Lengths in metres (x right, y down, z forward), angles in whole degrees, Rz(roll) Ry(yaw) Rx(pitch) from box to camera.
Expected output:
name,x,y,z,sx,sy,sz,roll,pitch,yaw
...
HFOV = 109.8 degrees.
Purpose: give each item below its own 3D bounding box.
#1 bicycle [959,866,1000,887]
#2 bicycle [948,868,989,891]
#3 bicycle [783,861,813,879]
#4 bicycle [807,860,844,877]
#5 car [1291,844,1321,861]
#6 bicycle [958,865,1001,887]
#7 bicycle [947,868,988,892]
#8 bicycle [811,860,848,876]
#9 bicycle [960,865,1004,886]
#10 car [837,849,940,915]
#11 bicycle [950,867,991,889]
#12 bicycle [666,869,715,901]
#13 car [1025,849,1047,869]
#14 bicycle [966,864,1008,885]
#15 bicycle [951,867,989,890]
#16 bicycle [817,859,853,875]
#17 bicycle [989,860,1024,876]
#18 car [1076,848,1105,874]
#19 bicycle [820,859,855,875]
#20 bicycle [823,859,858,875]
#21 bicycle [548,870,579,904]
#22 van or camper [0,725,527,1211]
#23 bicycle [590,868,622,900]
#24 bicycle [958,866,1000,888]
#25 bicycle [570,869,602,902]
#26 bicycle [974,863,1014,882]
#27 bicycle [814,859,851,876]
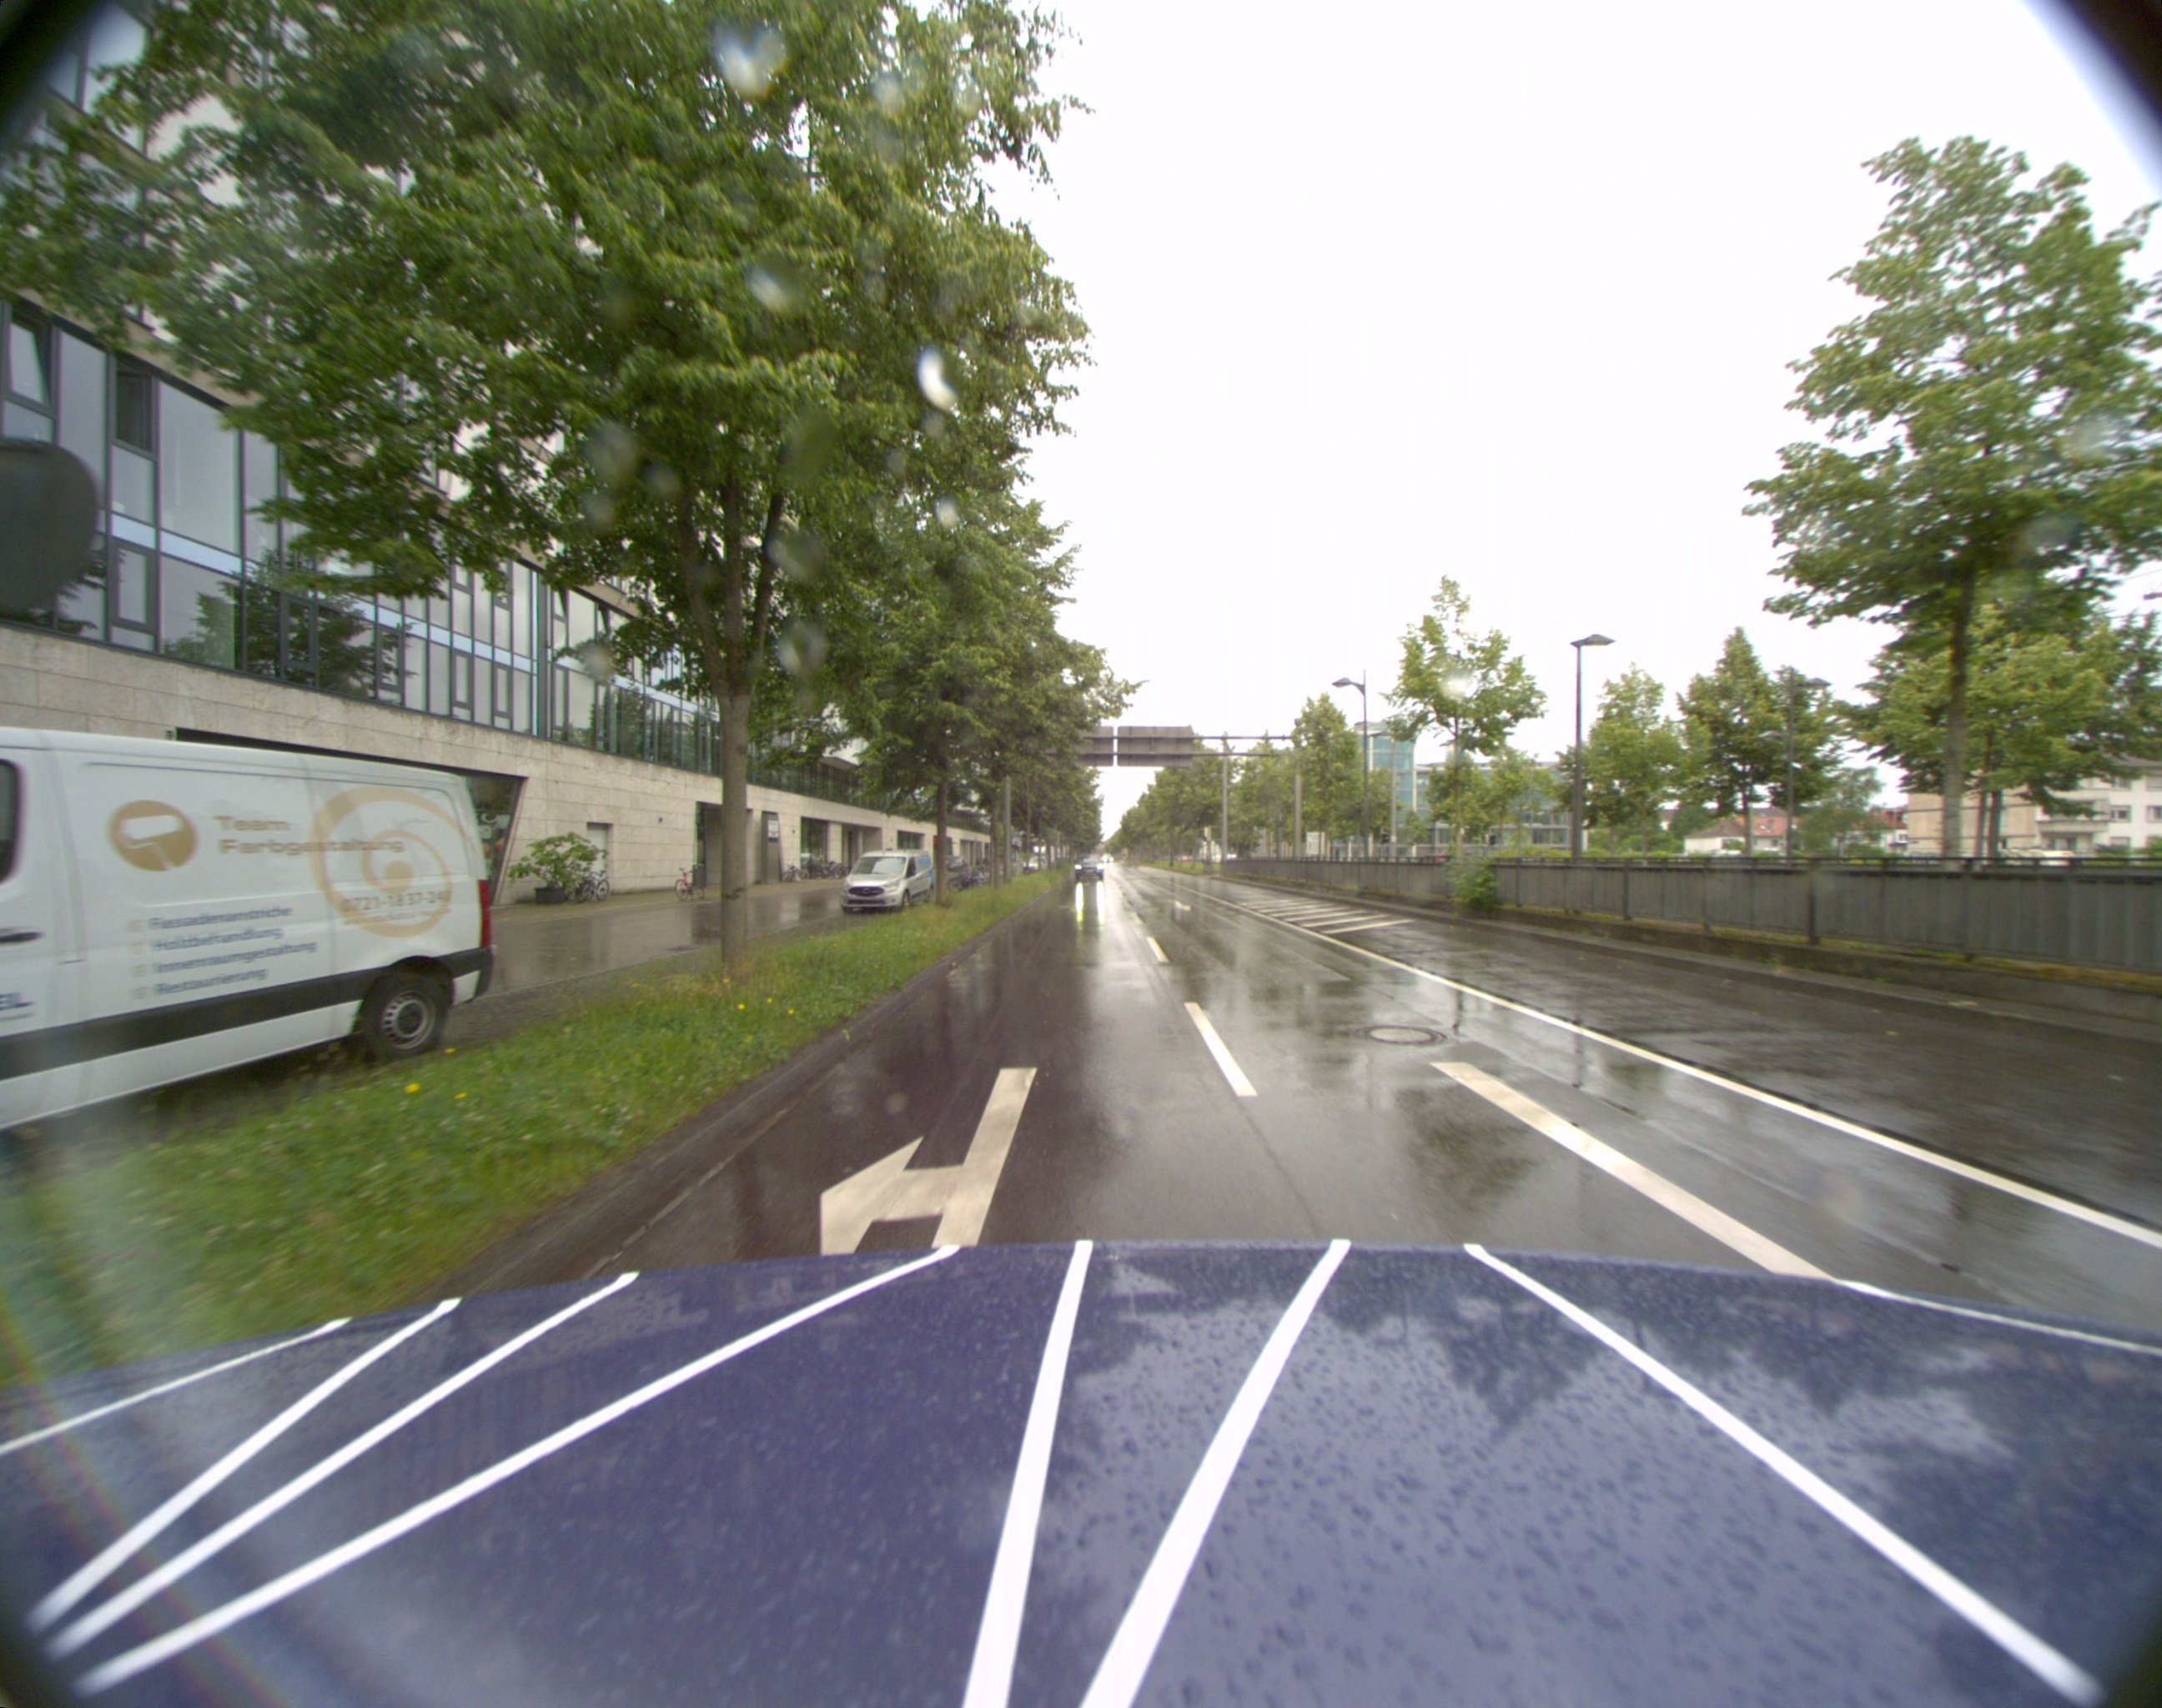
name,x,y,z,sx,sy,sz,roll,pitch,yaw
bicycle,-4.807,1.060,36.007,1.882,0.940,0.395,-2,1,-2
bicycle,-4.943,1.133,33.514,1.698,0.940,0.395,-2,1,-2
bicycle,-15.187,0.852,40.768,1.657,0.940,0.347,1,1,20
bicycle,-14.906,0.822,44.346,2.028,0.940,0.395,1,1,-2
car,24.309,-0.194,82.285,1.999,1.736,3.999,-2,1,-1
bicycle,-4.866,1.055,36.498,2.007,0.940,0.395,-2,1,-2
bicycle,-4.897,1.120,32.799,1.666,0.940,0.395,-2,1,-2
bicycle,-14.922,0.819,45.047,2.028,0.940,0.395,1,1,-2
bicycle,-4.818,1.049,36.939,2.040,0.940,0.395,-2,1,-2
car,-5.606,0.728,22.832,1.746,1.749,4.848,-1,1,1
bicycle,-5.067,1.089,34.787,1.792,0.940,0.395,-2,1,-2
bicycle,-12.778,0.998,24.933,0.402,0.940,1.859,0,1,9
car,-4.257,0.422,71.897,1.658,1.711,4.000,-2,1,1
bicycle,-4.748,1.030,38.284,2.040,0.940,0.395,-2,1,-2
bicycle,-5.001,1.111,34.228,1.649,0.940,0.395,-2,1,-2
bicycle,-14.939,0.800,46.220,2.028,0.940,0.395,1,1,-2
bicycle,-4.537,0.852,46.495,2.040,0.940,0.519,-2,1,-2
car,0.673,0.418,51.630,1.815,1.603,4.000,-2,1,2
bicycle,-14.983,0.800,46.737,2.028,0.940,0.395,1,1,-2
bicycle,-15.001,0.798,47.469,2.028,0.940,0.395,1,1,-2
bicycle,-15.122,0.936,22.191,0.396,0.940,2.024,-3,1,-43
van or camper,-6.071,0.537,4.098,2.030,2.279,5.460,-1,1,1
bicycle,-14.639,0.905,23.400,0.396,0.940,2.024,-3,1,-43
bicycle,-4.766,1.068,35.447,1.861,0.940,0.395,-2,1,-2
bicycle,-14.895,0.920,22.843,0.396,0.940,2.024,-3,1,-43
bicycle,-4.680,0.994,40.860,2.040,0.940,0.466,-2,1,-2
bicycle,-14.929,0.816,45.642,2.028,0.940,0.395,1,1,-2
